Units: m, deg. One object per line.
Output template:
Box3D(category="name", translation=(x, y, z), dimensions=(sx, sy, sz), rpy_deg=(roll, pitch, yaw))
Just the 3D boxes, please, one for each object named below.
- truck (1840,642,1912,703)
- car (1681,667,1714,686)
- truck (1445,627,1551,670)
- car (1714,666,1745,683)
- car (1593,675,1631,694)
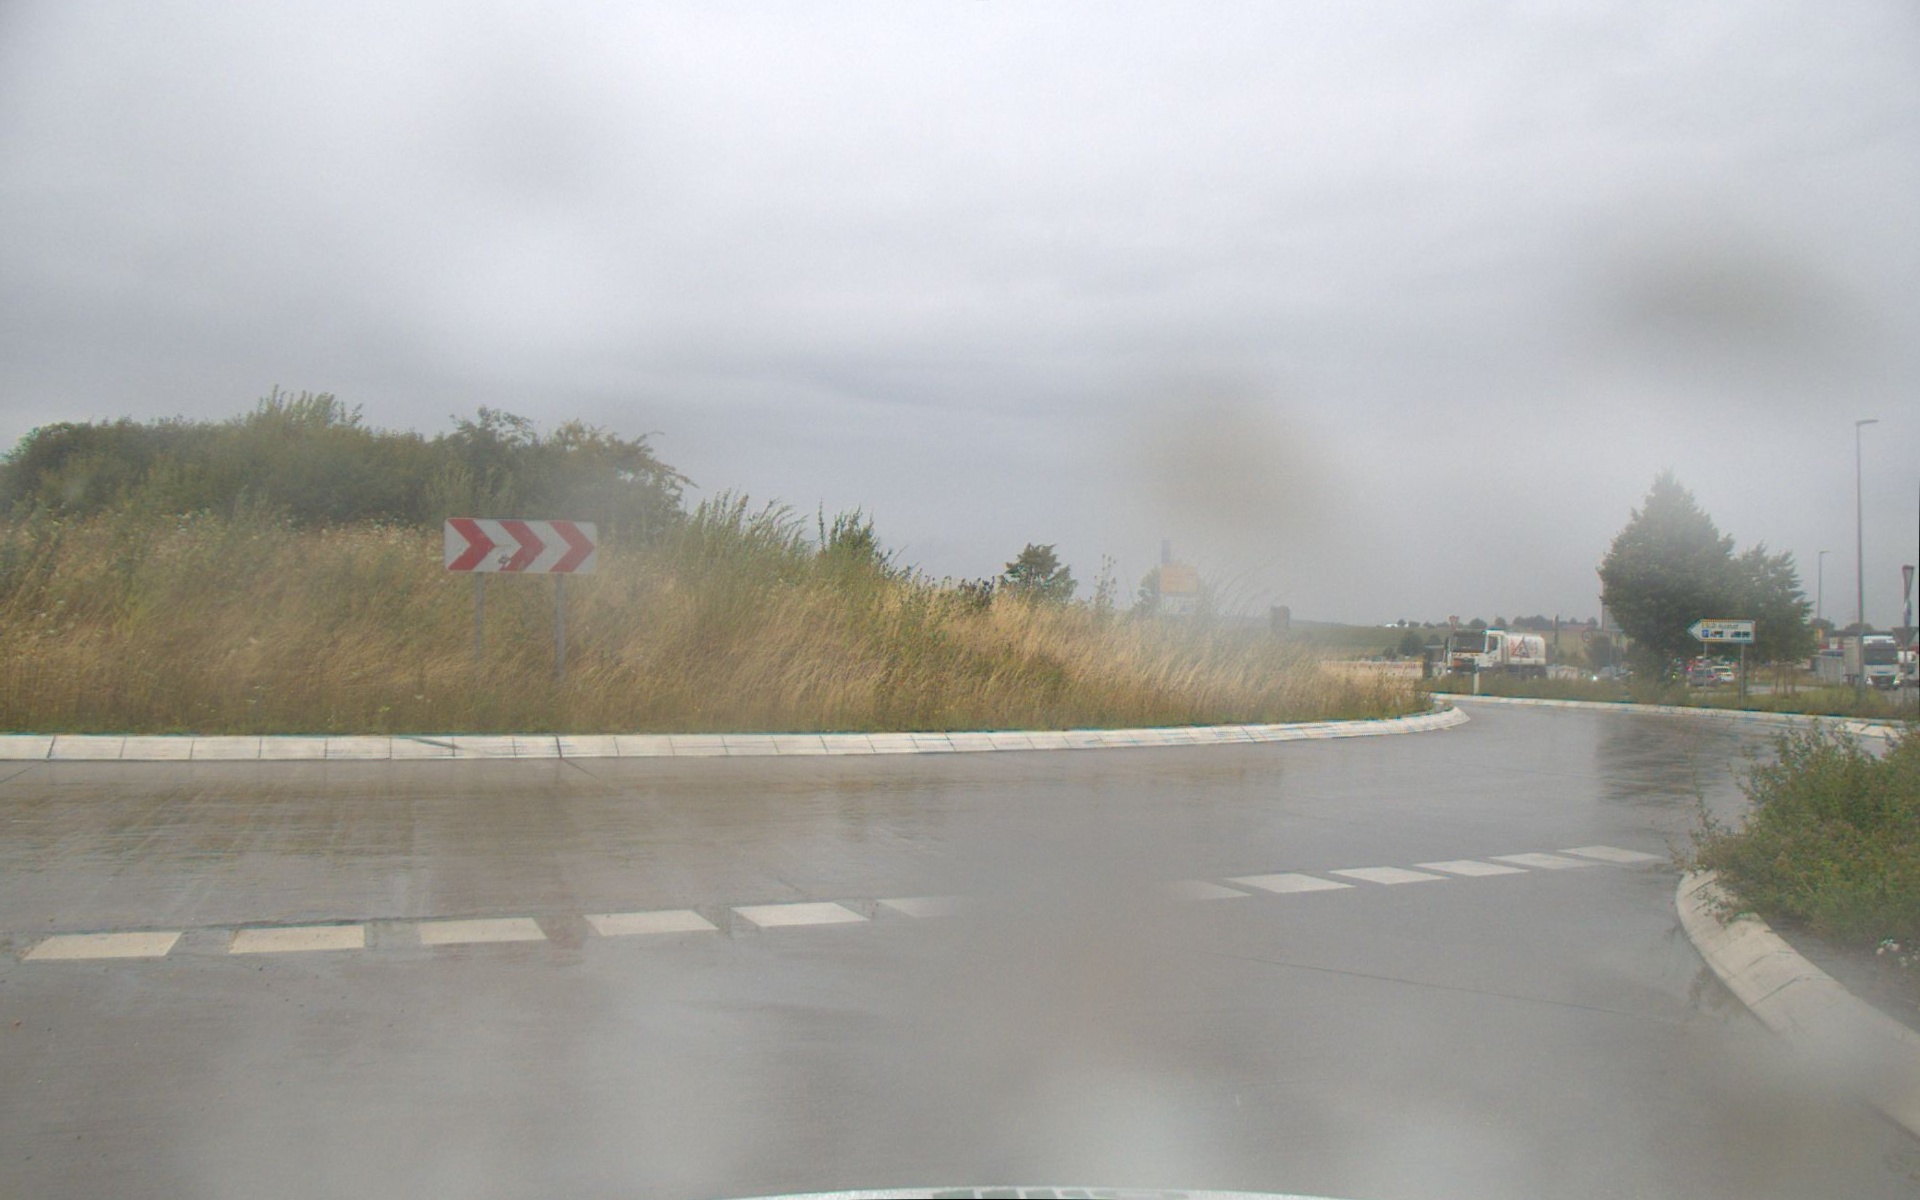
Box3D(category="truck", translation=(68.520, 5.406, 123.901), dimensions=(2.838, 4.365, 8.816), rpy_deg=(0, -2, 17))
Box3D(category="car", translation=(51.610, 5.344, 115.814), dimensions=(1.324, 1.232, 3.238), rpy_deg=(1, -2, 10))
Box3D(category="truck", translation=(29.355, 2.648, 90.043), dimensions=(2.473, 2.262, 8.364), rpy_deg=(-2, -2, 41))
Box3D(category="car", translation=(59.435, 5.762, 127.792), dimensions=(1.324, 1.232, 3.238), rpy_deg=(1, -2, 10))
Box3D(category="car", translation=(43.443, 5.614, 110.214), dimensions=(1.504, 1.232, 3.598), rpy_deg=(-1, -3, 36))
